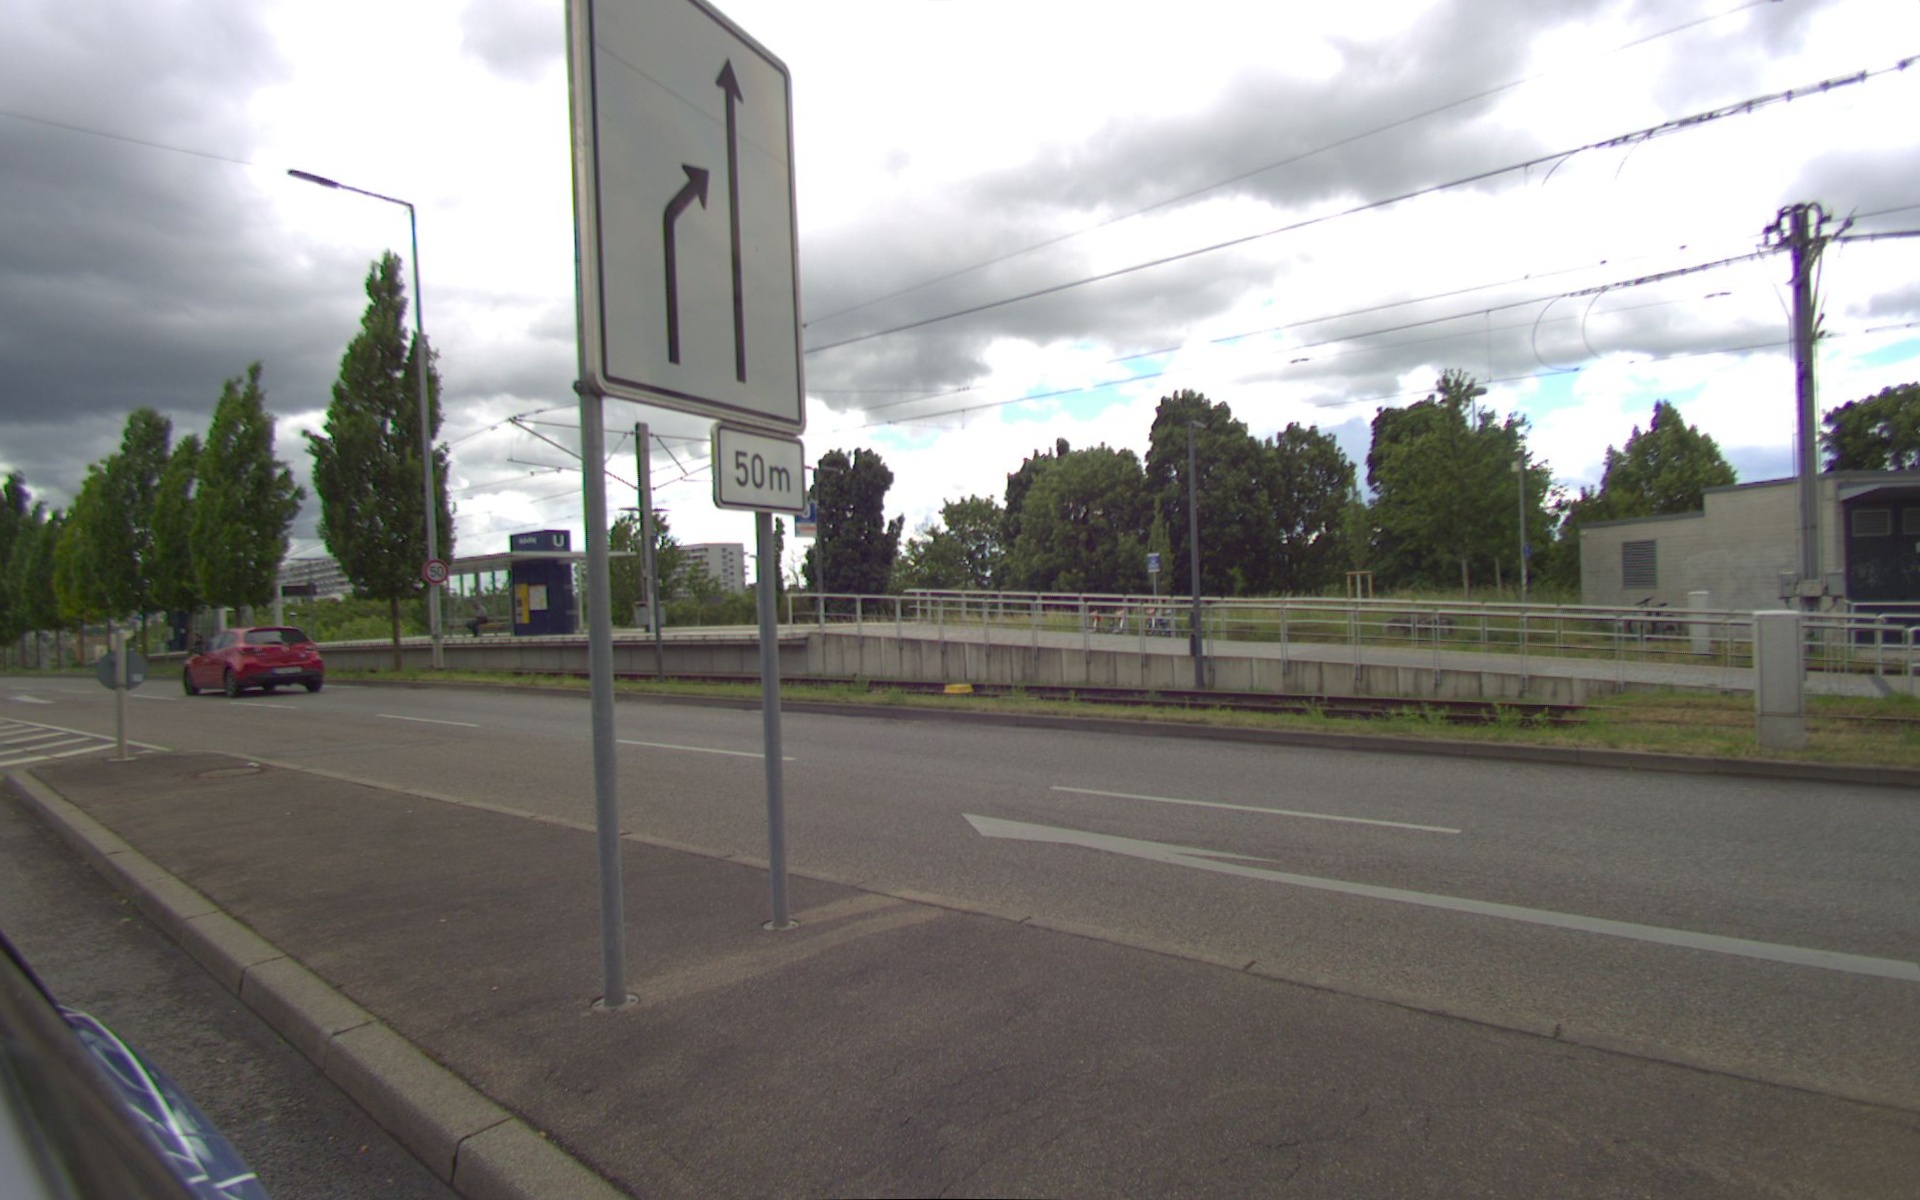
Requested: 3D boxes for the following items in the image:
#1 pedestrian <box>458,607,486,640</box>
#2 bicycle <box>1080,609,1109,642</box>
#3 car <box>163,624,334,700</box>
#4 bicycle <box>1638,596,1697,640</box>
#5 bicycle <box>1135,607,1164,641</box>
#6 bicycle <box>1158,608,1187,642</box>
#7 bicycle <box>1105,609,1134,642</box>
[{"bbox_3d":[-18.257,0.872,37.867,0.781,1.211,0.656,-2,-1,33],"label":"pedestrian"},{"bbox_3d":[4.676,0.884,35.154,0.490,1.095,1.466,-2,-1,30],"label":"bicycle"},{"bbox_3d":[-15.690,1.330,22.244,4.417,1.454,1.765,-3,-1,36],"label":"car"},{"bbox_3d":[18.188,0.454,26.053,0.486,1.095,1.480,-1,-1,3],"label":"bicycle"},{"bbox_3d":[6.373,0.800,33.941,0.490,1.095,1.466,-2,-1,30],"label":"bicycle"},{"bbox_3d":[7.039,0.811,33.461,0.490,1.095,1.466,-2,-1,30],"label":"bicycle"},{"bbox_3d":[5.433,0.863,34.452,0.490,1.095,1.466,-2,-1,30],"label":"bicycle"}]
